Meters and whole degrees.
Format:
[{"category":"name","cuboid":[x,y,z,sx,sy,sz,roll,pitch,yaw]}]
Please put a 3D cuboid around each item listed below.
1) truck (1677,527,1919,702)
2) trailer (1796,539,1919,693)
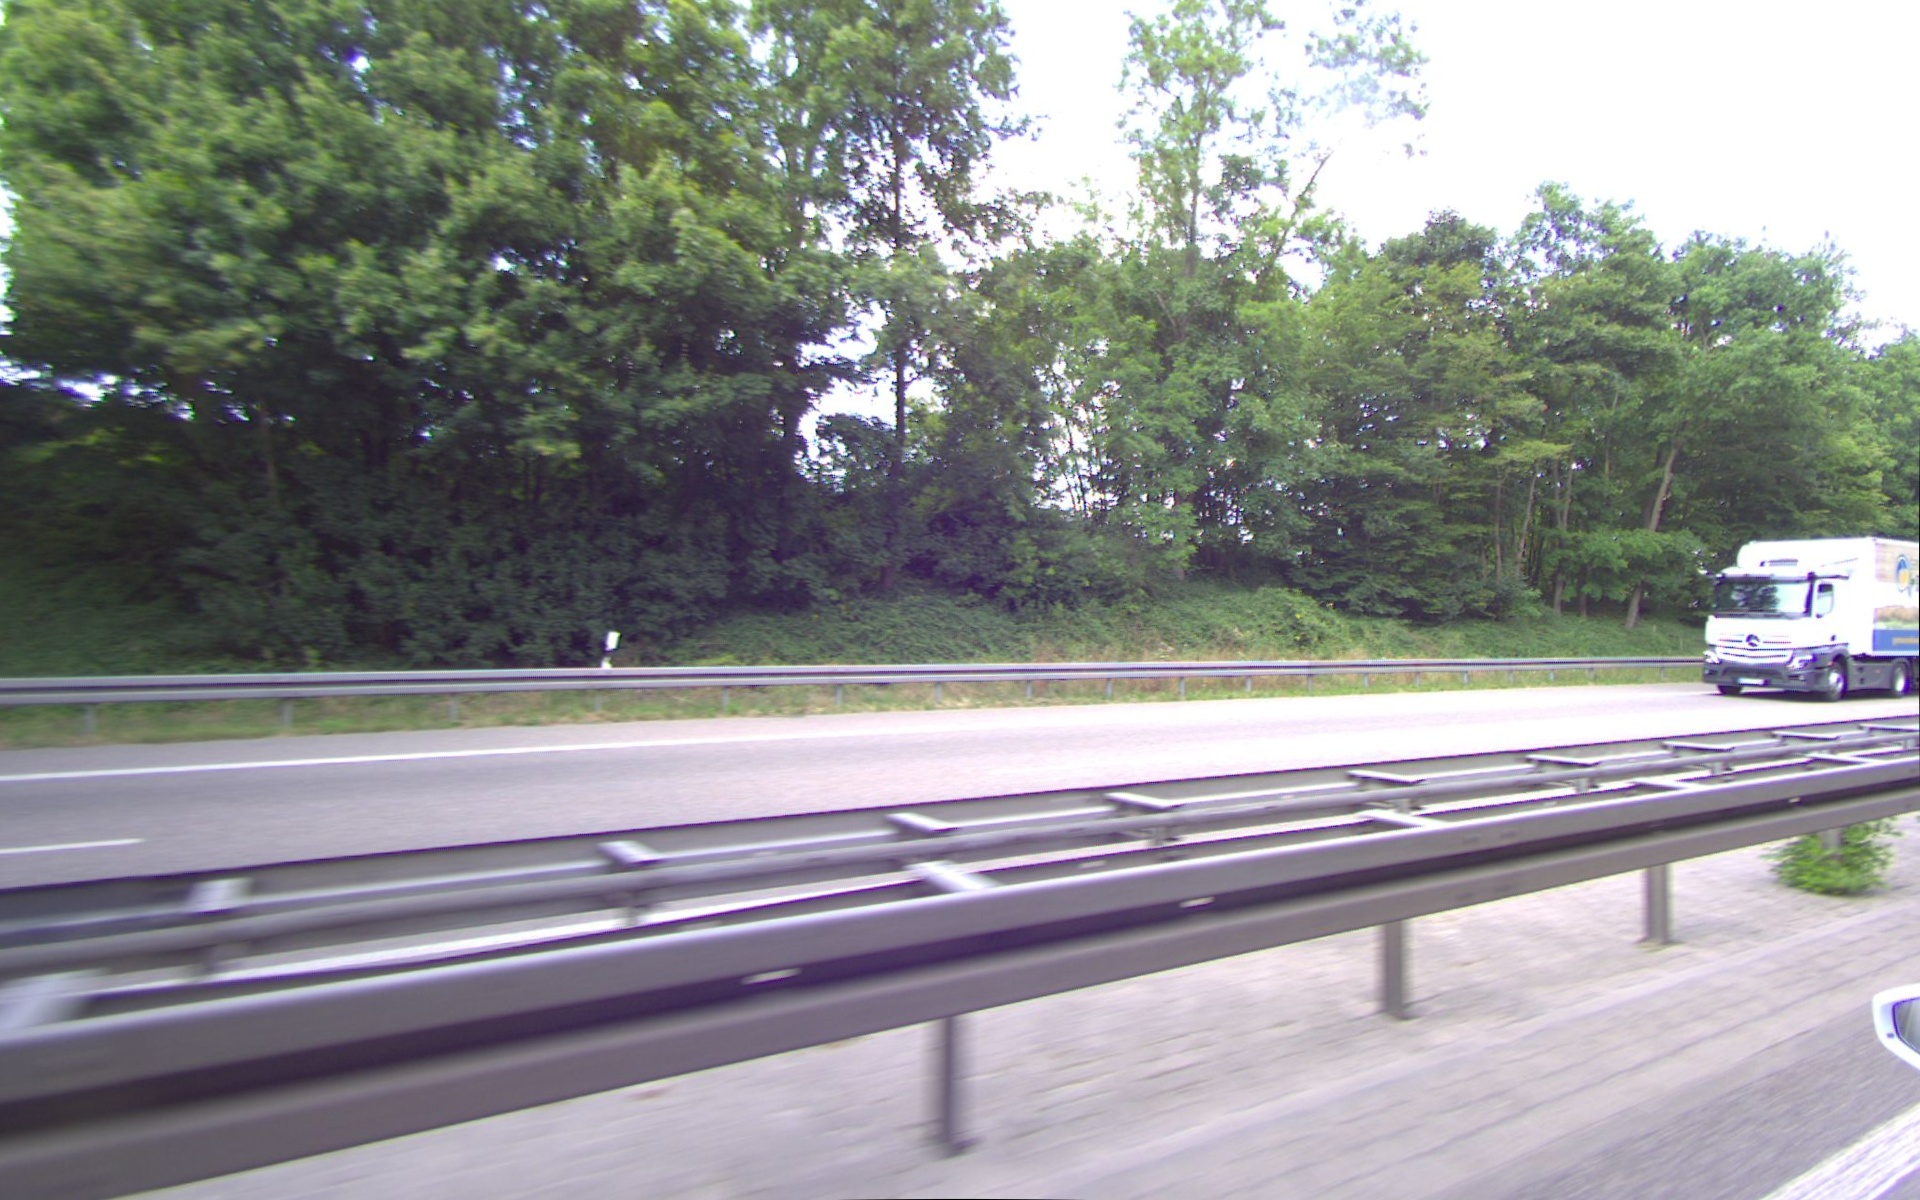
[{"category":"truck","cuboid":[22.089,0.391,26.125,6.666,4.040,3.027,1,0,-29]},{"category":"trailer","cuboid":[29.313,0.582,30.146,9.851,4.096,3.047,2,-1,-29]}]
